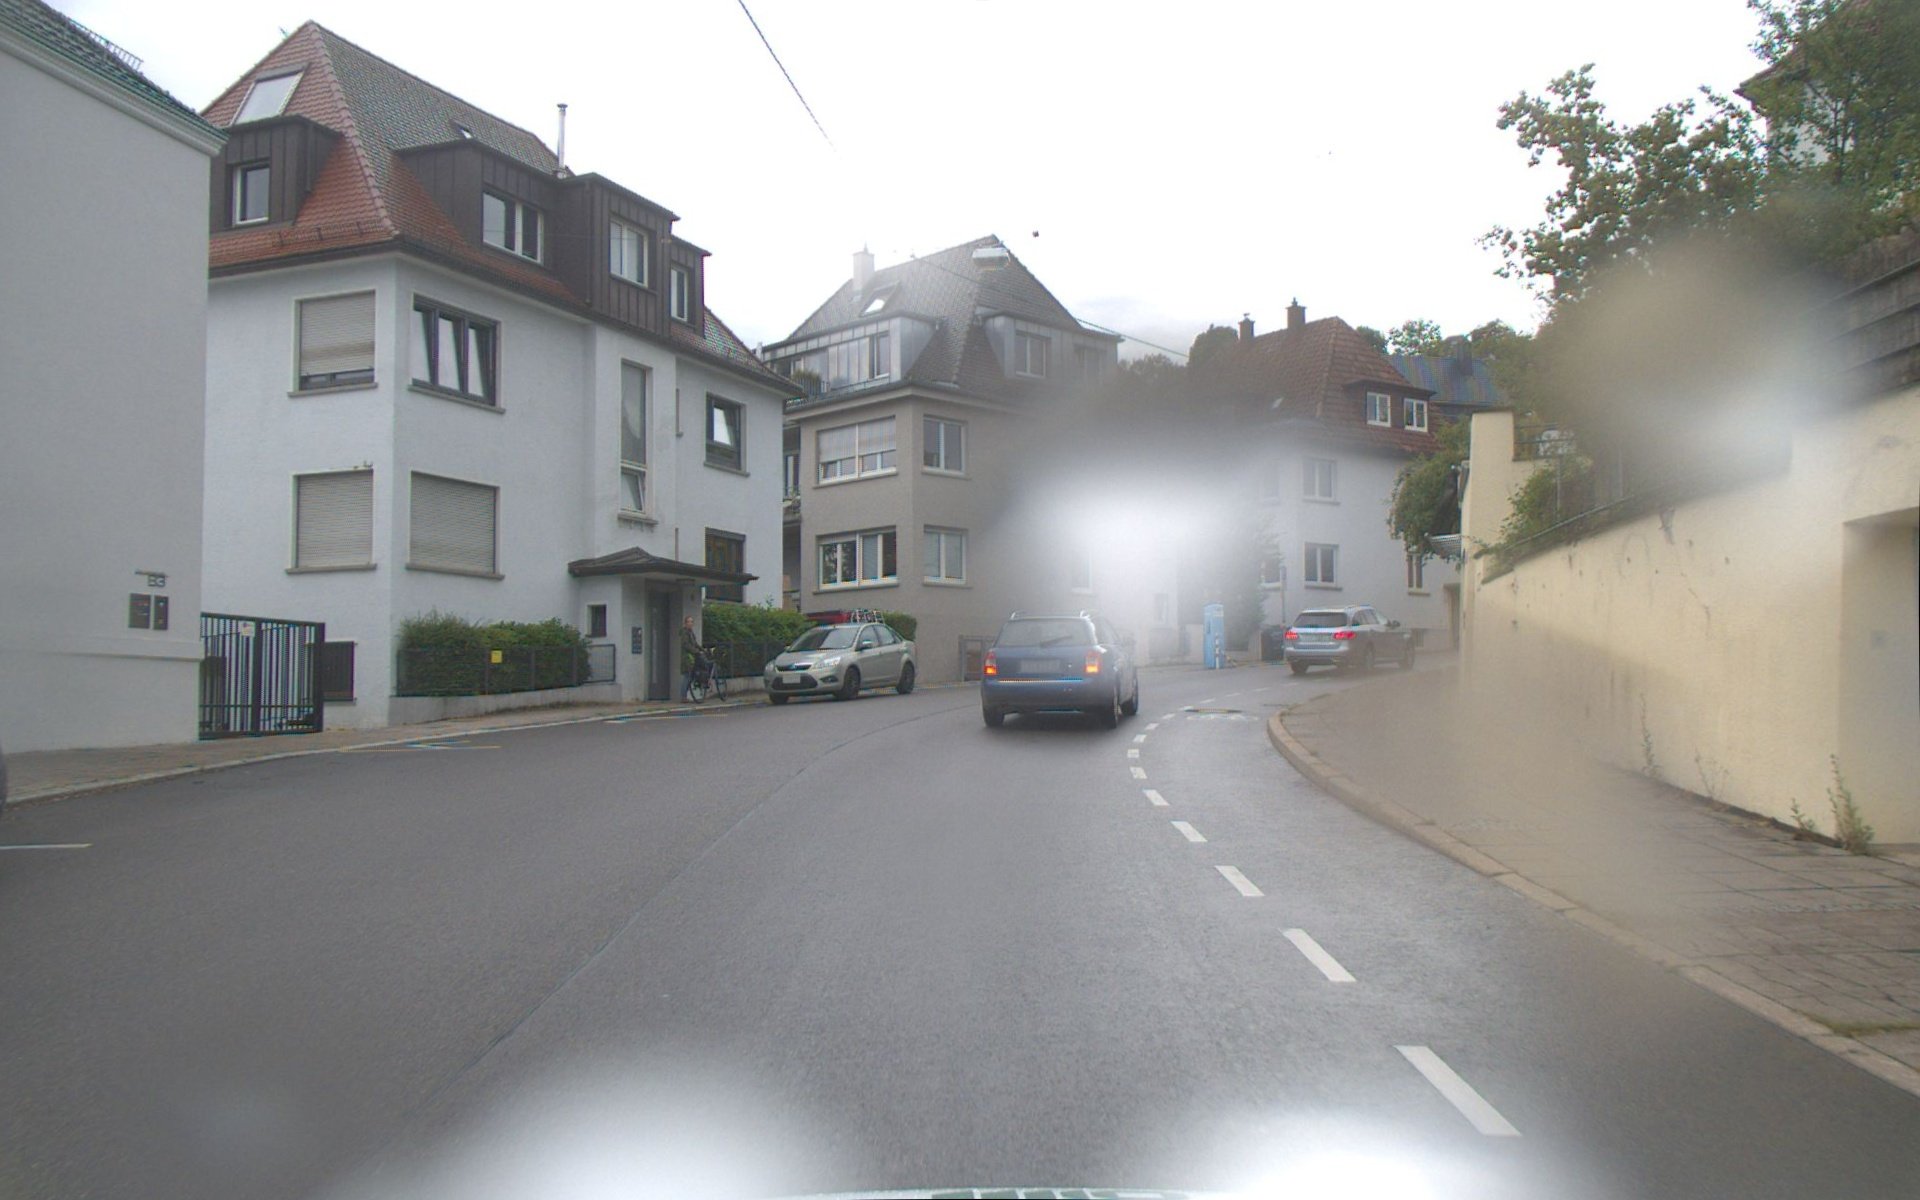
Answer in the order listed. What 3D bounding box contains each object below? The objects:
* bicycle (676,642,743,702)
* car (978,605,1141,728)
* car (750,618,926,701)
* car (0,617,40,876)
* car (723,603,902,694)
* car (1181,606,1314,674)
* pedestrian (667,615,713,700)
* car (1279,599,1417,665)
[{"bbox_3d":[-4.820,1.378,31.923,0.446,1.086,1.922,-1,-1,18],"label":"bicycle"},{"bbox_3d":[1.412,0.811,21.983,1.772,1.464,4.085,-1,0,9],"label":"car"},{"bbox_3d":[-2.345,1.139,32.937,1.798,1.450,4.229,-3,-1,22],"label":"car"},{"bbox_3d":[-6.606,0.887,7.619,1.791,1.511,4.992,-1,0,2],"label":"car"},{"bbox_3d":[-3.712,1.227,41.603,3.911,1.854,1.997,-7,-3,28],"label":"car"},{"bbox_3d":[9.809,1.384,56.701,1.977,1.651,4.202,-1,-9,-35],"label":"car"},{"bbox_3d":[-5.243,1.104,32.123,0.482,1.605,0.948,-1,-1,18],"label":"pedestrian"},{"bbox_3d":[8.726,0.745,36.988,1.779,1.385,3.988,0,-2,33],"label":"car"}]
